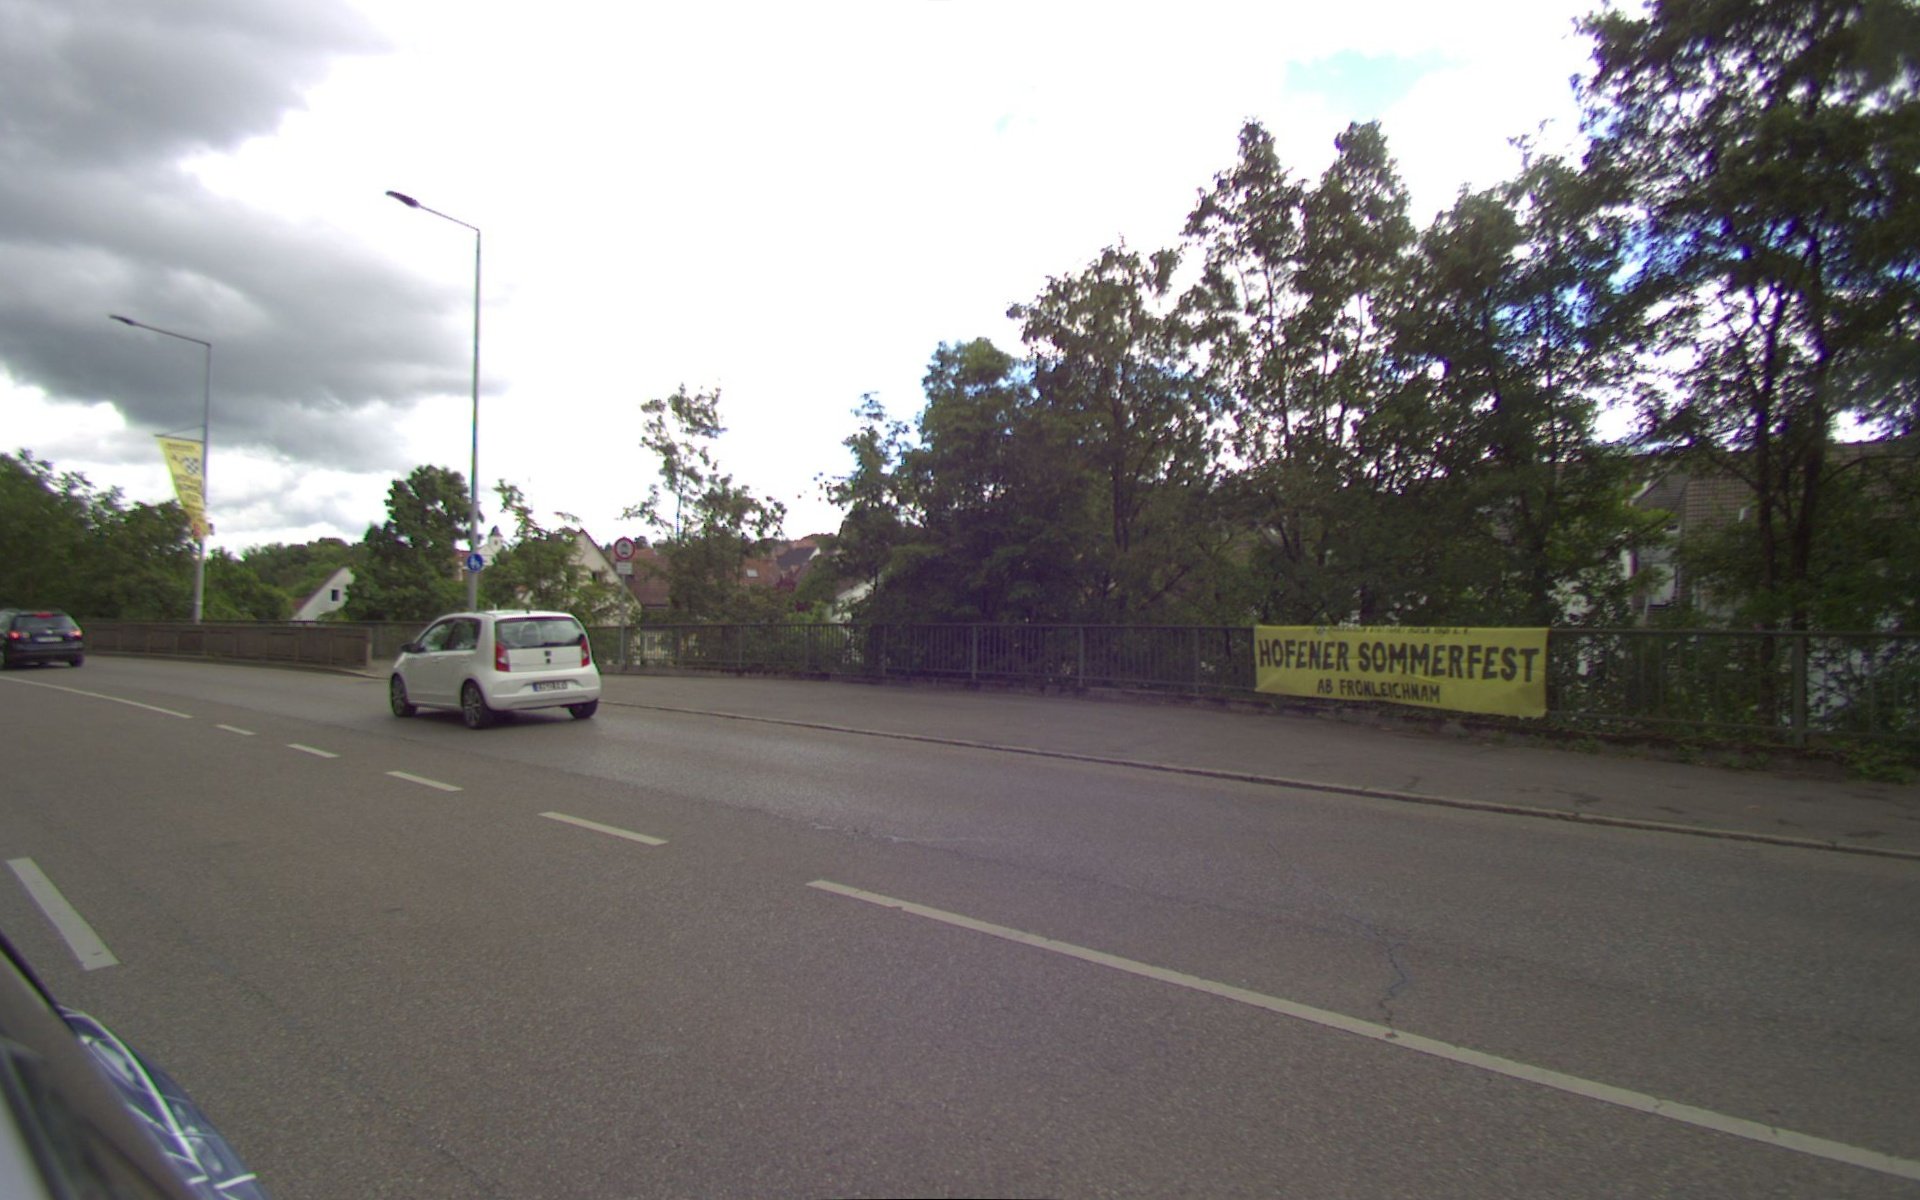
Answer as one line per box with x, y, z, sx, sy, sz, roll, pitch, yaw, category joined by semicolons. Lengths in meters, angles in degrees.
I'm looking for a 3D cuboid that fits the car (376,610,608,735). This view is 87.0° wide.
-6.497;0.897;13.883;3.695;1.477;1.564;-1;-1;42;car

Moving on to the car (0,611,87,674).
-25.675;1.120;27.688;4.002;1.619;1.706;-1;-1;34;car
